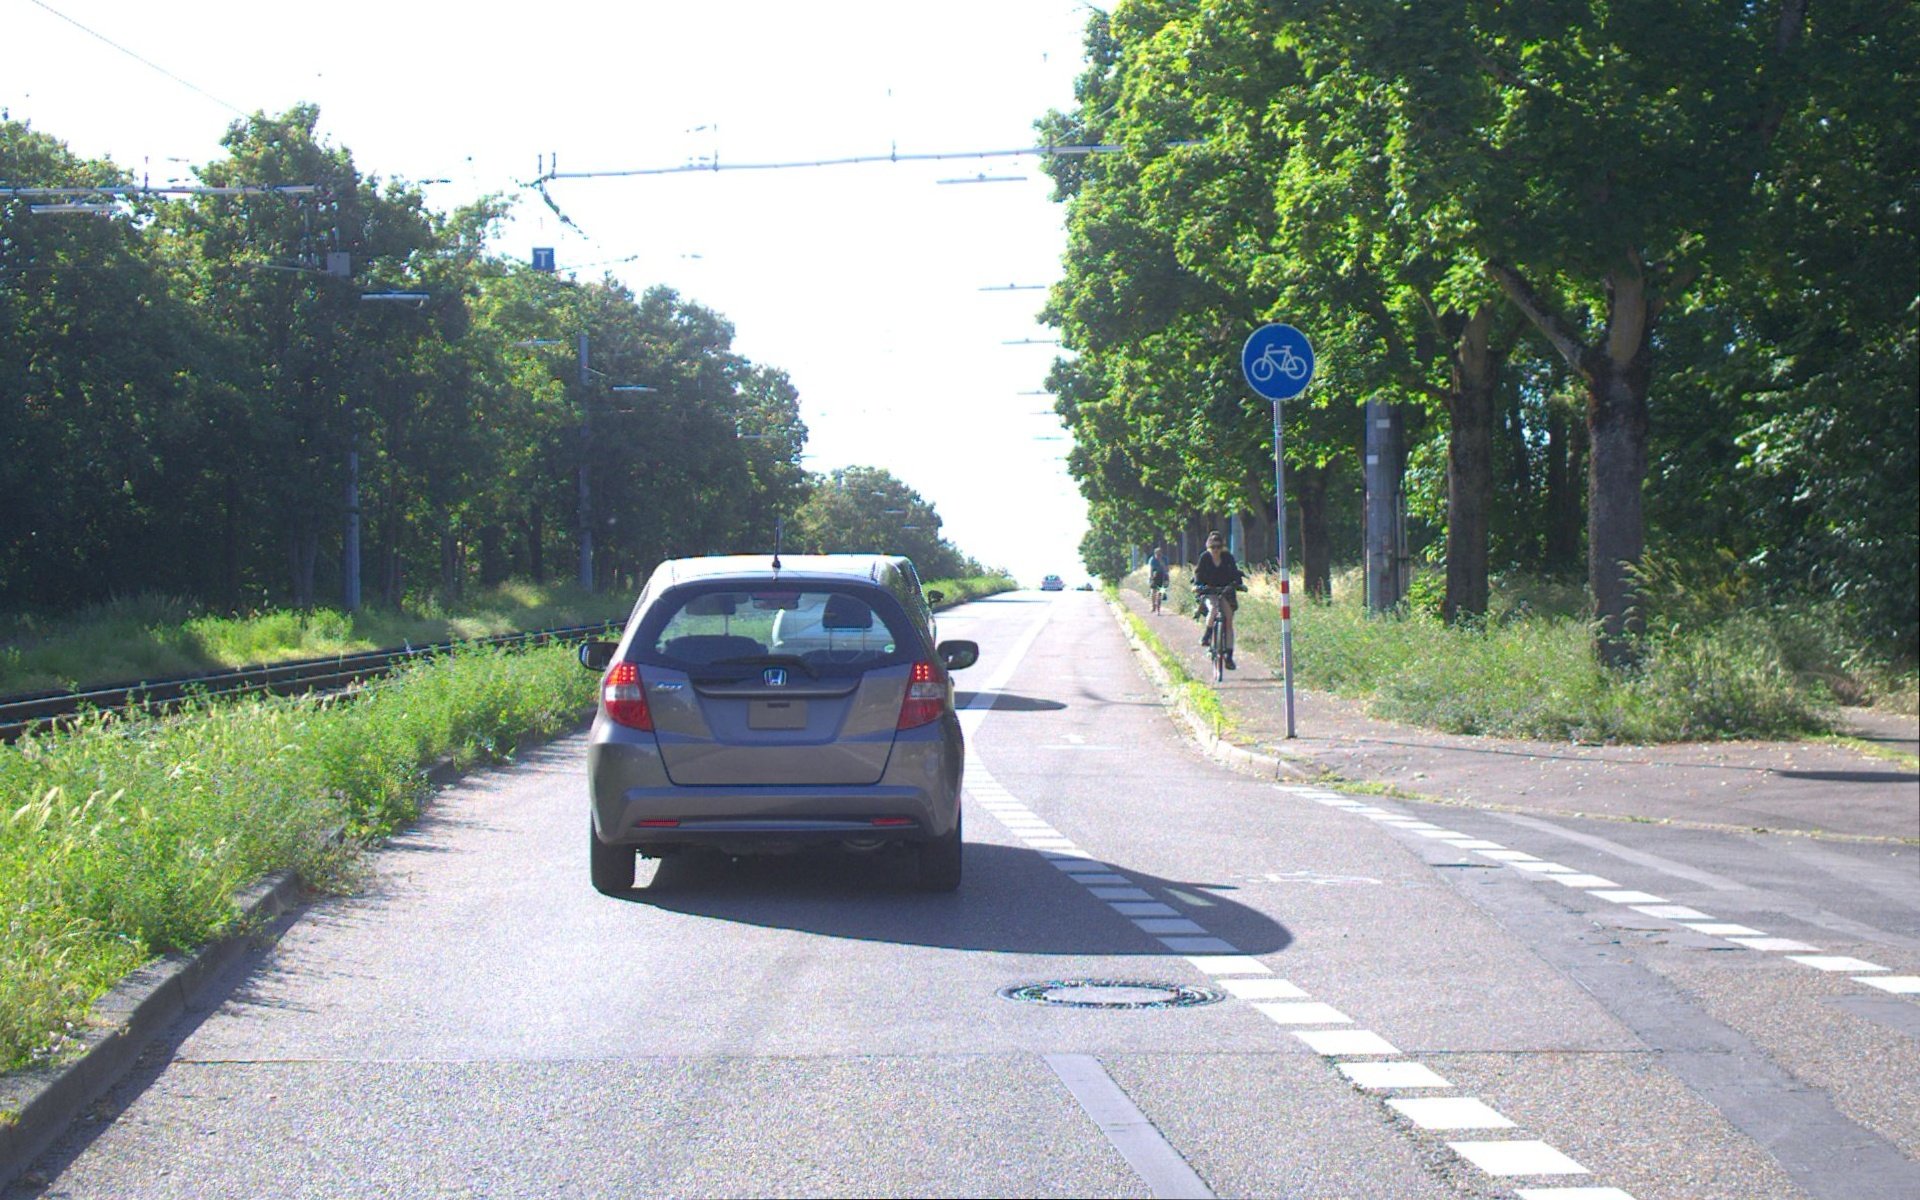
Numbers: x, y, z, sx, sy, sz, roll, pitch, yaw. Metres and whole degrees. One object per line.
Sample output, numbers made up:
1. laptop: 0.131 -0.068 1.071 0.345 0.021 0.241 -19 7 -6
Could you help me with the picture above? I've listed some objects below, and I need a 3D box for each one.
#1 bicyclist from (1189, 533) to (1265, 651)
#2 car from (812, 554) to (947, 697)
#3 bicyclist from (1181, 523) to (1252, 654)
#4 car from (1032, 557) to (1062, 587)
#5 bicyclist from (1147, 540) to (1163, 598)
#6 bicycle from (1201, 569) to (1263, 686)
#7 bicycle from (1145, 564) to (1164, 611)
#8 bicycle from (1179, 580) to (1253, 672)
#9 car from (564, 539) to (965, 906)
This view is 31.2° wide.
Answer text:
1. bicyclist: 3.159 -0.104 40.680 0.755 1.363 0.806 -2 1 -4
2. car: -0.937 0.290 38.508 1.351 1.522 3.123 -1 -1 -4
3. bicyclist: 3.033 -0.126 40.744 0.818 1.519 0.966 1 -1 3
4. car: 6.514 -2.086 257.286 1.994 2.007 3.999 -5 -1 3
5. bicyclist: 5.070 -0.803 89.542 0.405 1.501 0.574 0 0 2
6. bicycle: 3.210 0.304 40.525 0.619 1.186 2.506 -4 3 5
7. bicycle: 5.057 -0.329 89.366 0.418 1.184 1.721 -1 0 1
8. bicycle: 3.018 0.326 40.717 0.818 1.044 2.505 1 -1 3
9. car: -0.886 0.493 16.494 1.670 1.510 3.674 1 1 -2
